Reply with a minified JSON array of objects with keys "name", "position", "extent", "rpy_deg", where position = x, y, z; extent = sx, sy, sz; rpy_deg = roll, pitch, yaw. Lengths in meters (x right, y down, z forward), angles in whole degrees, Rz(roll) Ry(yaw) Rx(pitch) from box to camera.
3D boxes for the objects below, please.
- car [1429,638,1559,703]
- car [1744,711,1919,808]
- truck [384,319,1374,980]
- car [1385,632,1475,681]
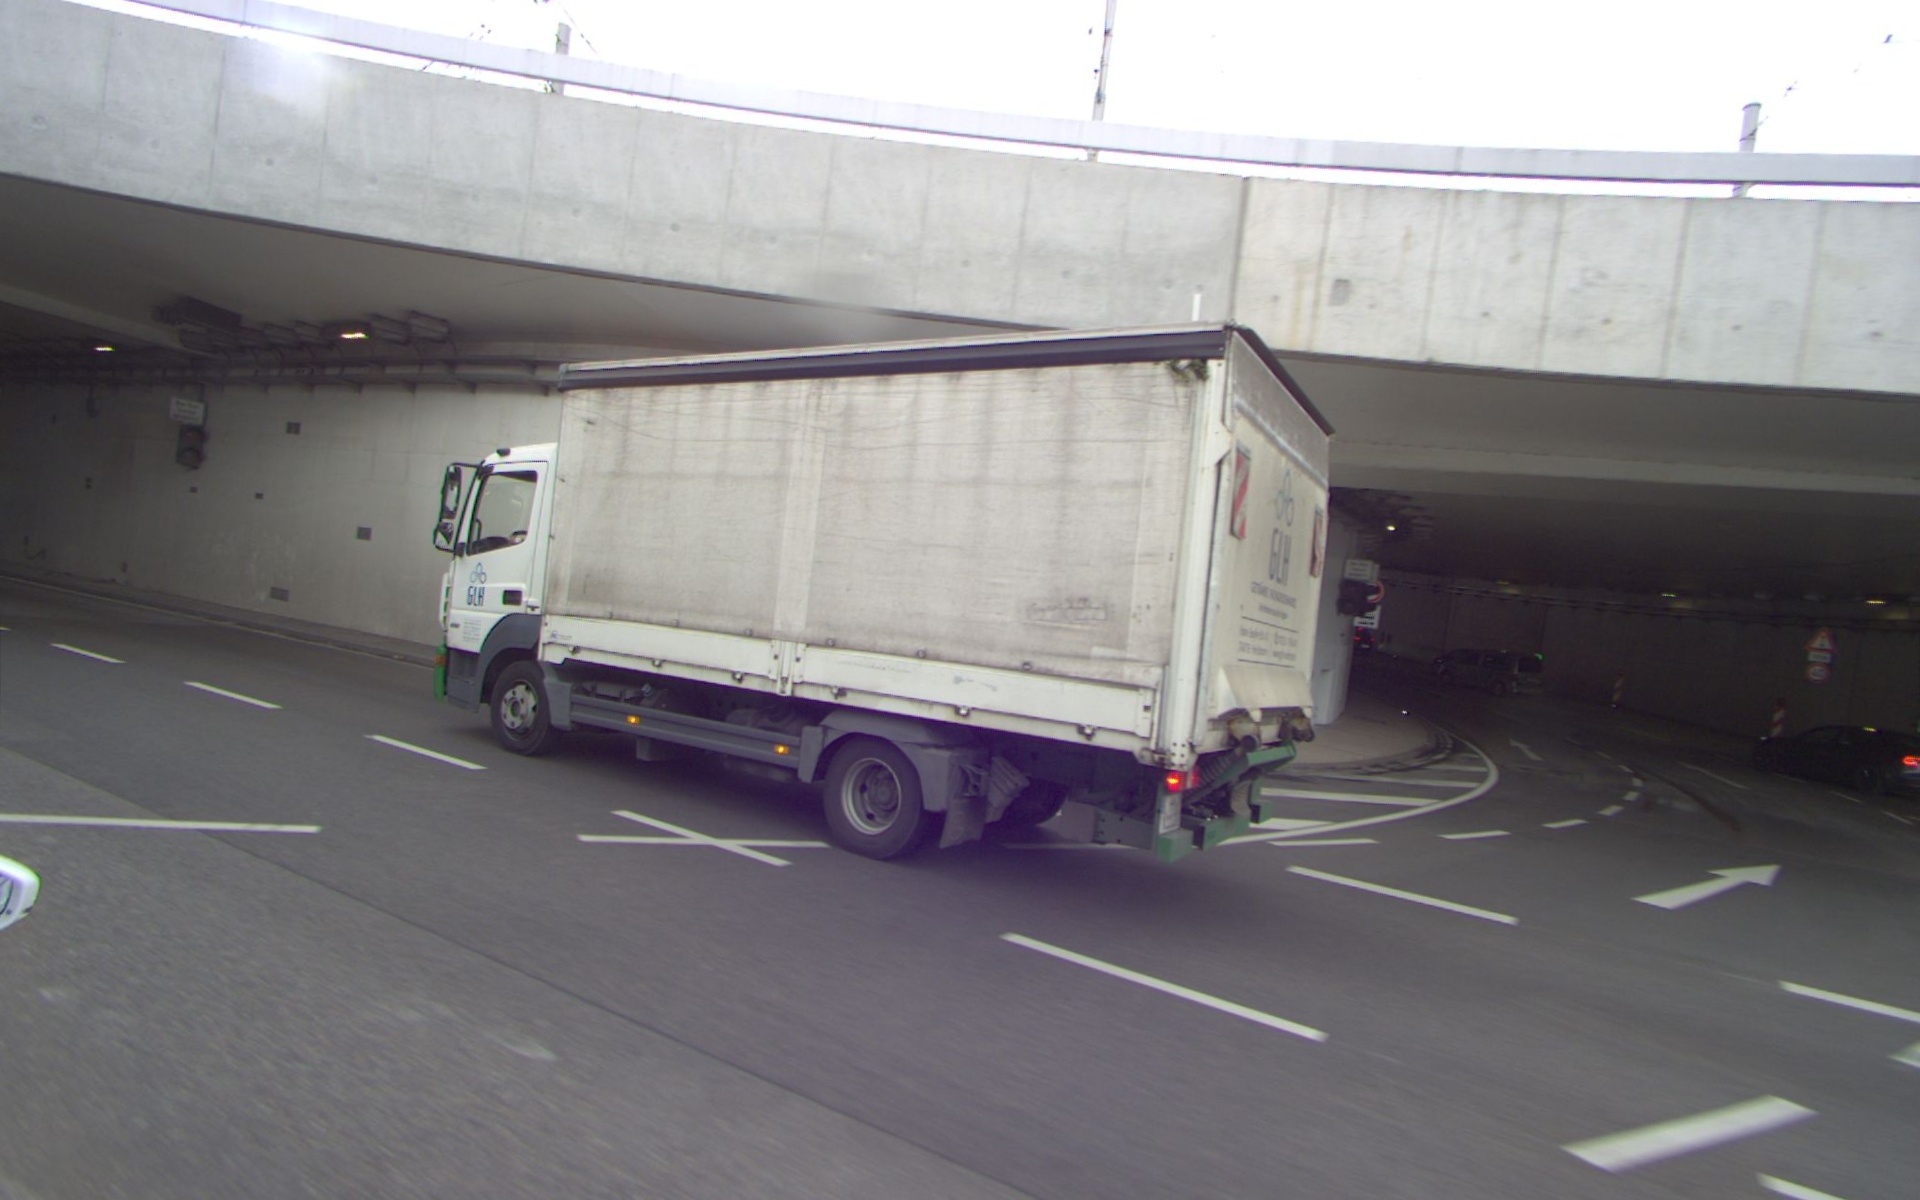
[{"name":"car","position":[21.911,2.853,41.461],"extent":[1.971,1.862,4.332],"rpy_deg":[3,5,-21]},{"name":"car","position":[20.737,3.627,23.009],"extent":[1.963,1.420,4.463],"rpy_deg":[5,1,-1]},{"name":"truck","position":[-1.037,-0.070,7.921],"extent":[7.302,3.224,2.653],"rpy_deg":[8,1,32]},{"name":"car","position":[22.919,2.726,49.281],"extent":[1.818,1.680,4.348],"rpy_deg":[7,3,-7]}]
